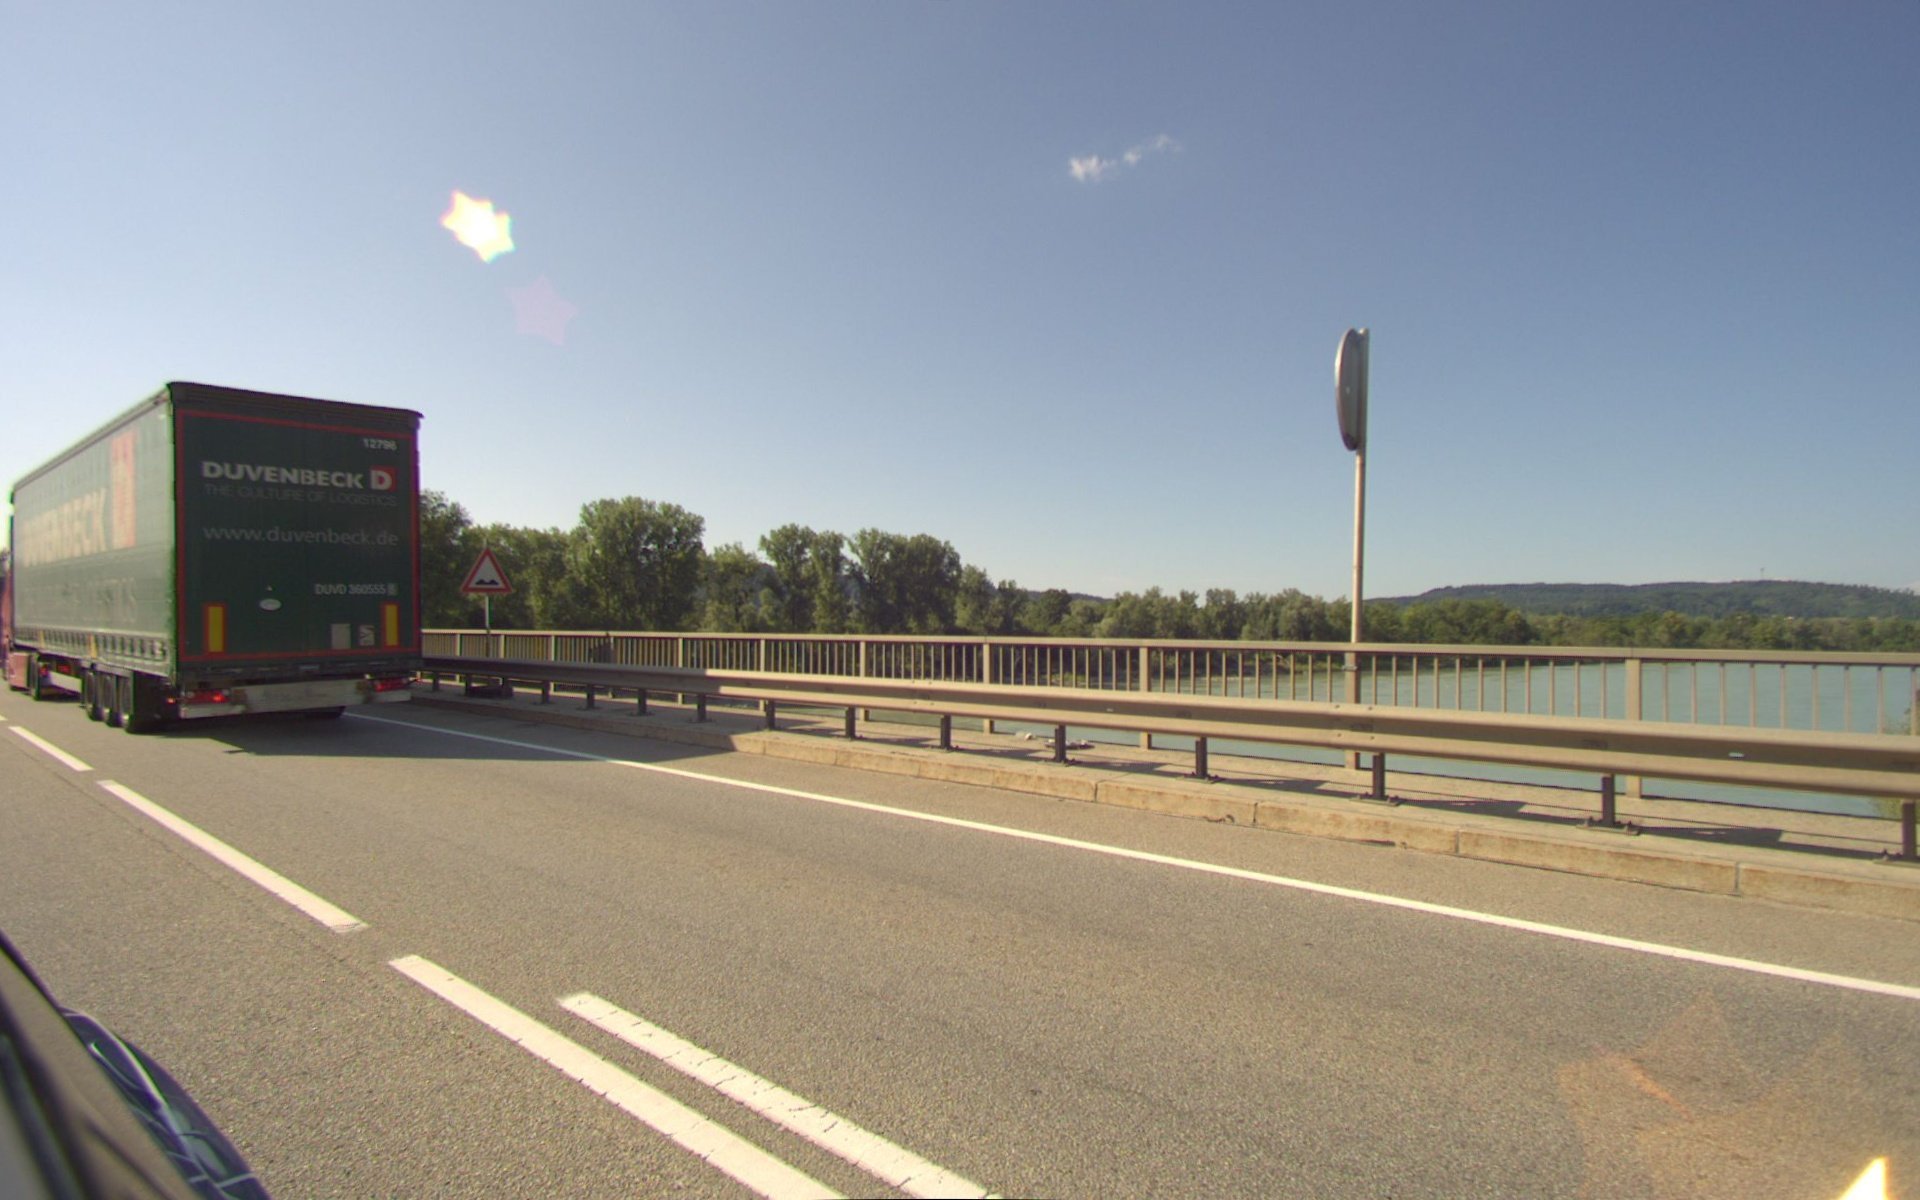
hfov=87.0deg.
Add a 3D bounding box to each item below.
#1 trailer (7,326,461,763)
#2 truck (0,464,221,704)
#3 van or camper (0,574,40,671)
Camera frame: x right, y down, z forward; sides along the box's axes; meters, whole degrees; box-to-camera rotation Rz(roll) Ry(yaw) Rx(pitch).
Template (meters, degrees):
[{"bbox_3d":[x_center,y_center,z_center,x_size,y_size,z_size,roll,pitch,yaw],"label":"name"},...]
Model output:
[{"bbox_3d":[-12.265,-0.424,15.918,14.298,4.335,2.876,-2,-1,42],"label":"trailer"},{"bbox_3d":[-17.586,-0.230,20.756,5.712,4.216,2.877,-2,-1,42],"label":"truck"},{"bbox_3d":[-33.033,0.770,34.182,6.816,3.074,2.290,-1,-1,43],"label":"van or camper"}]
